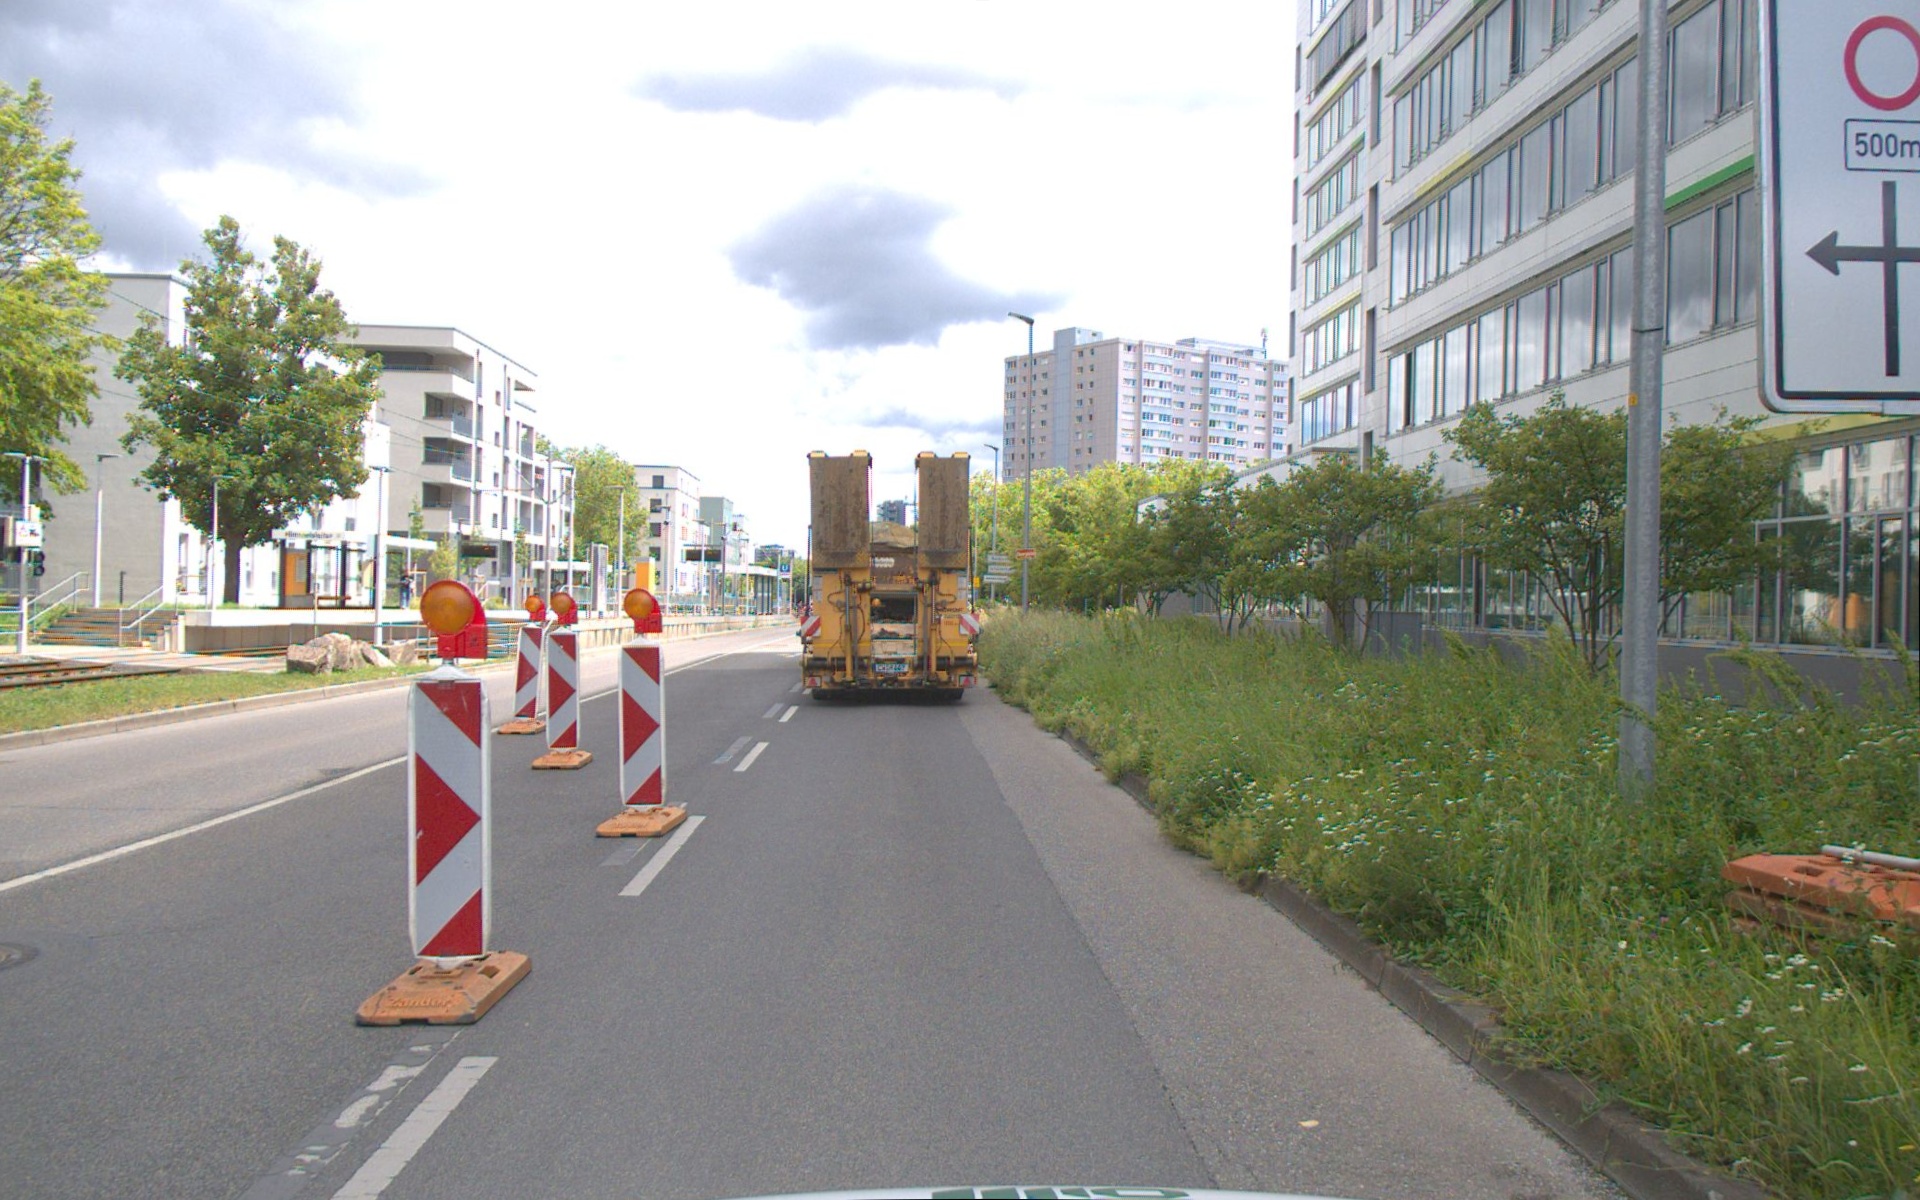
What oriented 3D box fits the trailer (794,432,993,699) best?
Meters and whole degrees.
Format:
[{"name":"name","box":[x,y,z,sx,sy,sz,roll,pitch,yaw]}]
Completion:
[{"name":"trailer","box":[-1.048,-0.432,28.398,2.674,3.621,11.249,1,0,-1]}]

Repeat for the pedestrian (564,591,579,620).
[{"name":"pedestrian","box":[-22.166,0.310,94.293,0.479,1.624,0.676,1,-1,33]}]

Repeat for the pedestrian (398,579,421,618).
[{"name":"pedestrian","box":[-22.250,-0.057,66.877,0.726,1.558,0.547,1,-1,1]}]

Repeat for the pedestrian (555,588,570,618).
[{"name":"pedestrian","box":[-22.371,0.173,93.100,0.480,1.624,0.674,0,-1,41]}]

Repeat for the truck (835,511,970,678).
[{"name":"truck","box":[-1.291,-0.077,38.192,2.698,3.371,8.348,1,-1,-2]}]
